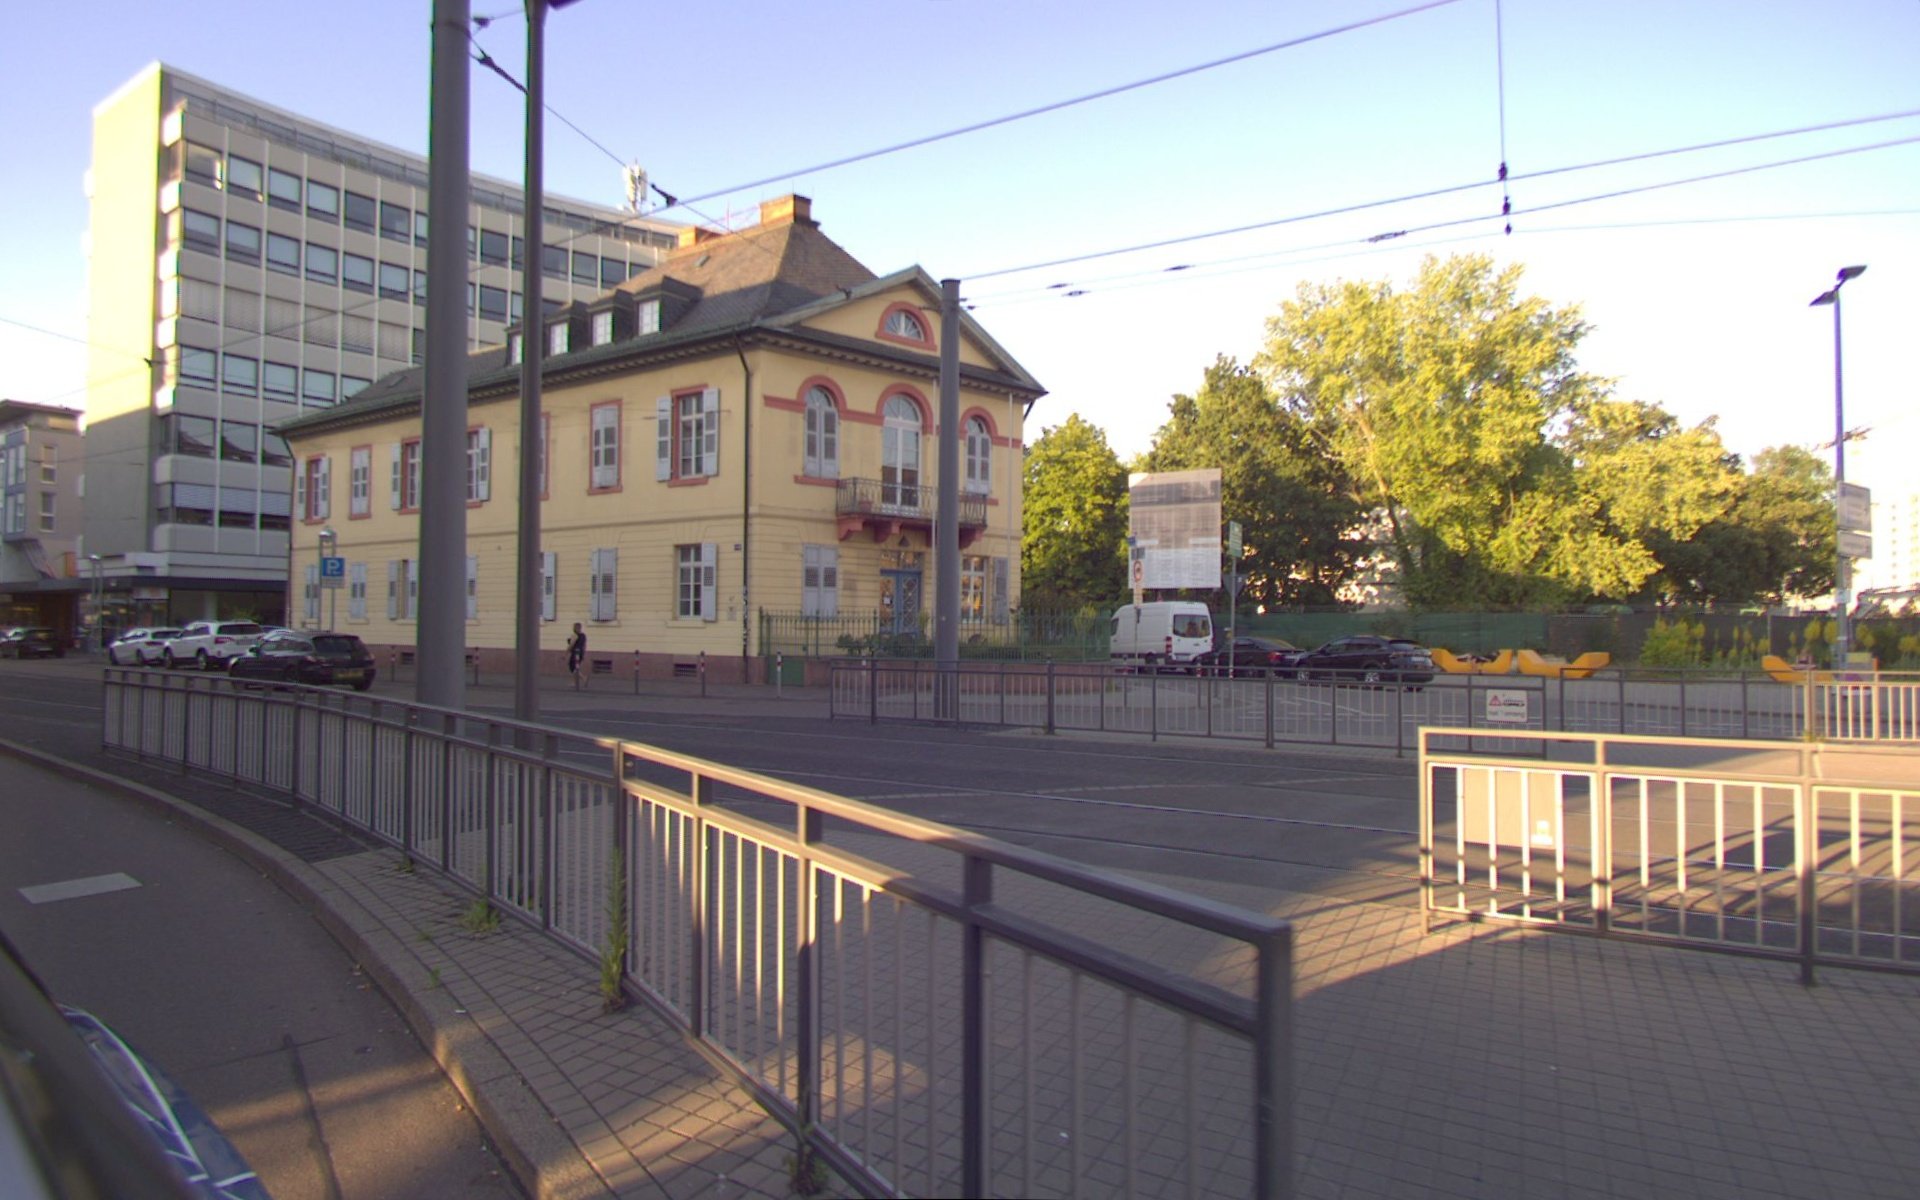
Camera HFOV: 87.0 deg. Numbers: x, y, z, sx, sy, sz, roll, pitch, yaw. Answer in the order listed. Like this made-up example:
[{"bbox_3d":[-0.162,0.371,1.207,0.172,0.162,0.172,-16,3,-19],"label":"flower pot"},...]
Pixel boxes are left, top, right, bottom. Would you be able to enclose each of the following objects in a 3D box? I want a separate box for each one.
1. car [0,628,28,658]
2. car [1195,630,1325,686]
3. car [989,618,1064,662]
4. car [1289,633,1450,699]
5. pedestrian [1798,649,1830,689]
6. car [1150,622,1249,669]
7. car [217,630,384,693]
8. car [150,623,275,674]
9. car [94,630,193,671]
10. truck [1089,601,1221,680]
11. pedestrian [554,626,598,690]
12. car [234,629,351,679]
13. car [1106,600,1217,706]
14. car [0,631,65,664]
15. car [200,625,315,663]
[{"bbox_3d":[-47.500,2.087,49.694,3.581,1.445,1.678,-1,-2,33],"label":"car"},{"bbox_3d":[9.619,1.817,32.742,1.965,1.589,4.013,0,0,-21],"label":"car"},{"bbox_3d":[3.074,1.815,47.348,1.965,1.900,4.013,0,0,-21],"label":"car"},{"bbox_3d":[11.403,1.786,28.502,1.965,1.558,4.013,0,0,-21],"label":"car"},{"bbox_3d":[27.911,2.250,33.085,0.702,1.220,0.718,0,0,31],"label":"pedestrian"},{"bbox_3d":[10.745,2.007,45.460,3.983,2.029,1.980,-1,-2,29],"label":"car"},{"bbox_3d":[-16.128,1.444,24.707,4.208,1.387,1.754,-1,-2,31],"label":"car"},{"bbox_3d":[-26.357,1.667,35.641,4.743,1.673,1.873,-1,0,31],"label":"car"},{"bbox_3d":[-31.579,1.922,39.119,4.270,1.464,1.707,-1,-1,33],"label":"car"},{"bbox_3d":[7.173,1.418,37.881,2.158,2.719,5.484,0,0,-23],"label":"truck"},{"bbox_3d":[-9.564,1.437,25.216,0.716,1.548,0.714,0,-2,28],"label":"pedestrian"},{"bbox_3d":[-21.762,1.731,32.964,3.988,1.485,1.734,-1,-1,33],"label":"car"},{"bbox_3d":[4.379,1.091,21.572,1.983,2.029,3.978,0,-2,17],"label":"car"},{"bbox_3d":[-42.975,2.155,46.569,3.953,1.436,1.678,-1,0,33],"label":"car"},{"bbox_3d":[-32.487,2.007,46.886,1.907,1.565,3.958,0,0,30],"label":"car"}]
